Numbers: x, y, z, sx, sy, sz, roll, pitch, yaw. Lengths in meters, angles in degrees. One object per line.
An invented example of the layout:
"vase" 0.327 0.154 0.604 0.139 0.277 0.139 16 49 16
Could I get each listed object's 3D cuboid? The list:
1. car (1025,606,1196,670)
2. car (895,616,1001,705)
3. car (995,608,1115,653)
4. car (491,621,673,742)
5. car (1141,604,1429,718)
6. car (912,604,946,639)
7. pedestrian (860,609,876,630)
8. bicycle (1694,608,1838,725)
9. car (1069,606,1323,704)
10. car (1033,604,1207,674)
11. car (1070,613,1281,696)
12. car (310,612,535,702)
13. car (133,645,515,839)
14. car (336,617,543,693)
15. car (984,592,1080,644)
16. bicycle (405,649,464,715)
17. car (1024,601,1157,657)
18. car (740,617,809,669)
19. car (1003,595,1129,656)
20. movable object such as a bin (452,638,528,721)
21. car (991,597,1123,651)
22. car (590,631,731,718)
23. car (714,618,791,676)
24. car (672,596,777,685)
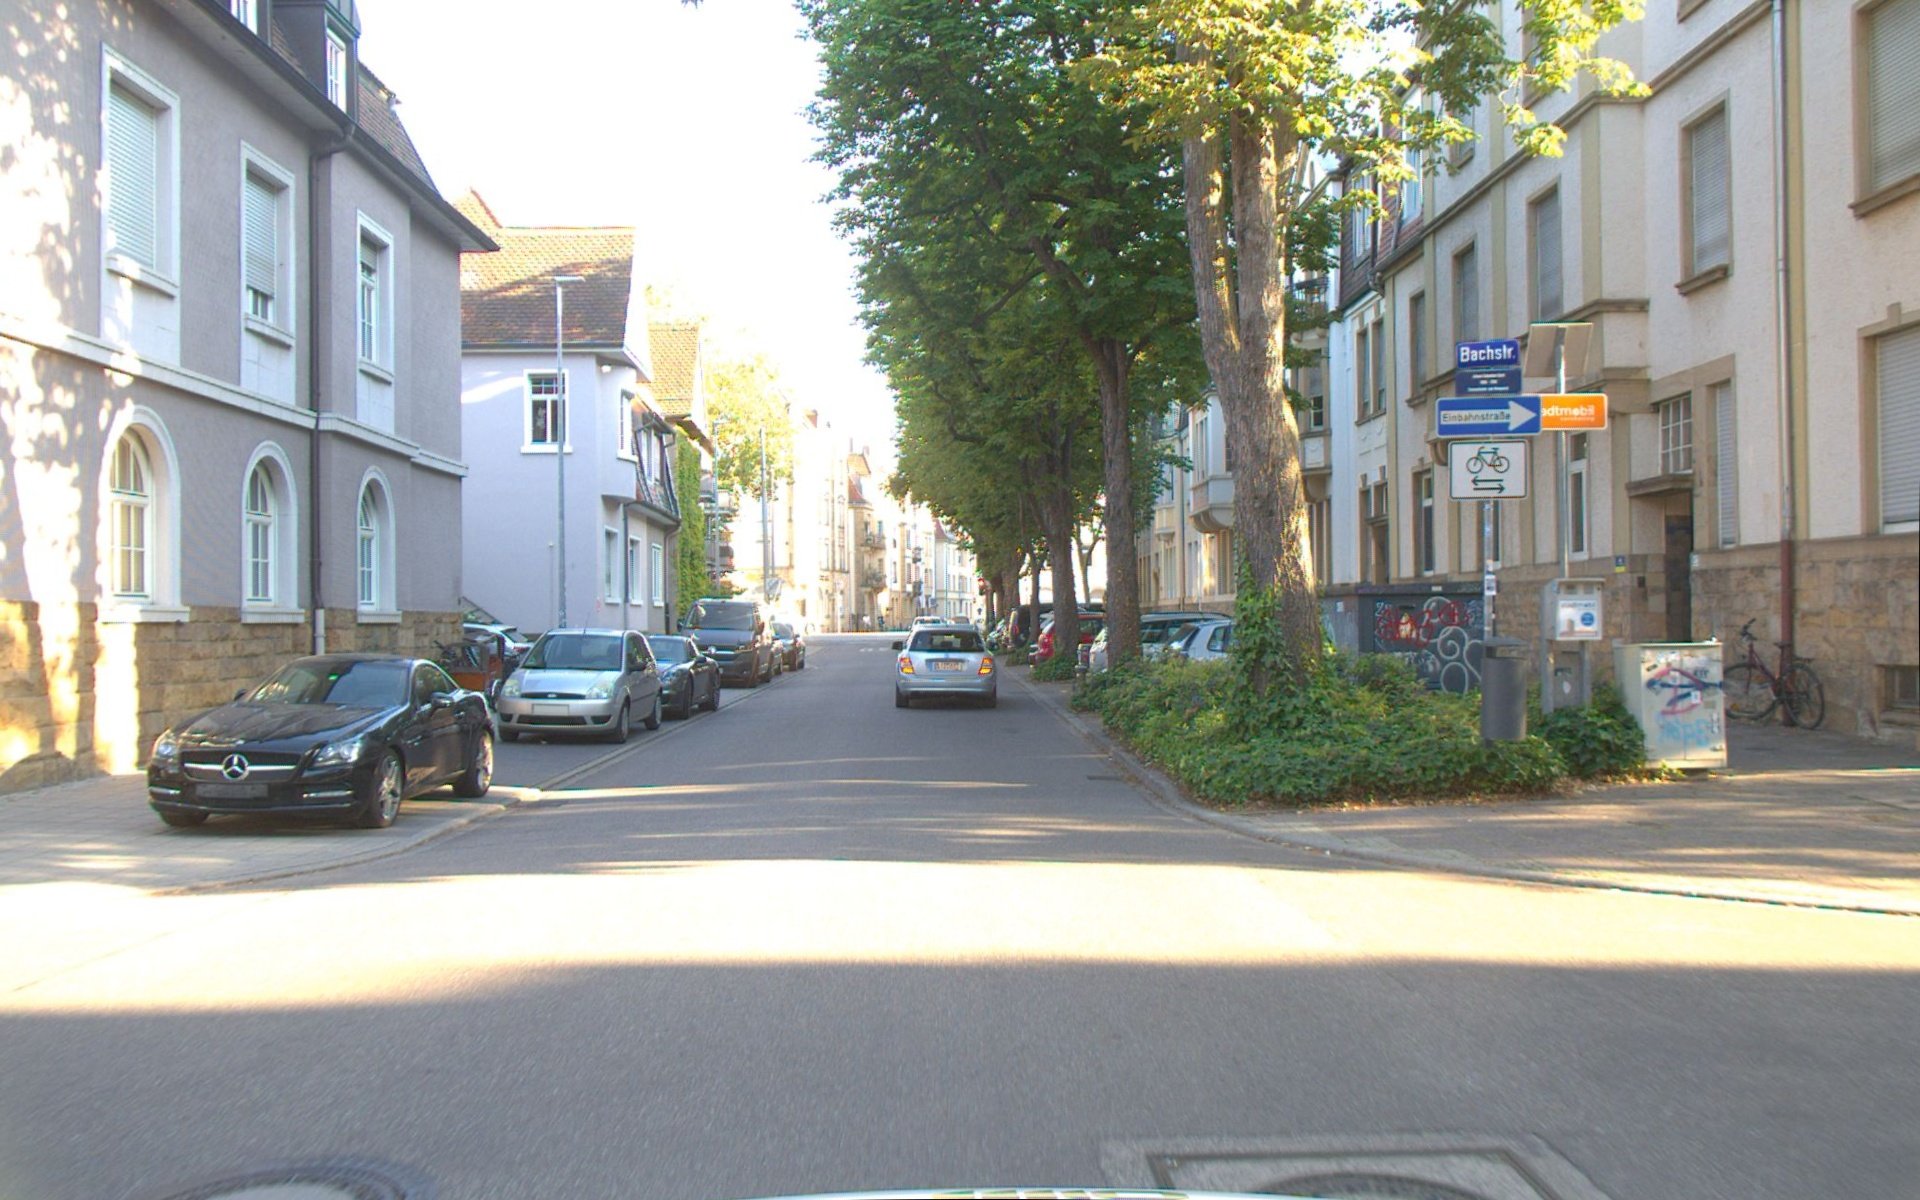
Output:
"car" 3.918 0.998 43.689 4.320 1.444 1.877 -3 -1 1
"car" -0.210 1.037 29.294 1.747 1.462 3.850 0 -1 -1
"car" 3.433 1.107 60.388 4.203 1.568 1.875 0 0 -4
"car" -5.127 1.057 22.924 1.620 1.471 3.959 1 0 0
"car" 4.650 0.852 23.955 3.720 1.463 1.747 -2 0 -6
"car" -1.459 1.001 79.071 1.590 1.597 3.679 0 0 0
"pedestrian" -7.774 1.688 140.451 1.195 1.752 1.503 0 -1 2
"bicycle" 9.078 0.717 18.715 0.573 1.233 1.956 0 0 -3
"car" 4.057 0.933 28.782 4.067 1.604 1.710 -1 -1 -6
"car" 3.890 0.954 40.864 4.103 1.501 1.852 -3 -1 1
"car" 4.010 1.008 31.178 3.716 1.463 1.817 -1 -1 -2
"car" -10.311 1.071 31.967 3.788 1.650 1.896 0 0 -5
"car" -5.211 1.097 14.166 1.619 1.347 4.045 1 -1 1
"car" -10.692 1.111 34.157 3.788 1.469 1.633 0 0 -5
"car" 3.340 0.832 77.554 4.301 2.406 1.999 0 0 -4
"bicycle" -8.263 1.279 26.064 0.386 0.953 1.722 -1 0 -1
"car" 4.137 0.929 52.766 4.027 1.599 1.876 -2 -1 -1
"car" -5.600 1.278 50.359 1.660 1.472 4.356 1 0 -1
"car" 3.656 0.863 57.456 4.136 1.929 1.904 -2 -1 -3
"movable object such as a bin" -7.964 1.321 28.112 0.707 1.306 2.096 -1 0 -1
"car" 3.759 0.938 64.719 4.953 2.024 2.070 0 0 -4
"car" -4.989 1.209 28.028 1.499 1.342 4.227 0 -1 1
"car" -5.624 1.248 45.253 1.620 1.472 4.236 1 0 -1
"car" -5.547 0.918 39.493 1.942 1.982 4.849 1 0 -2
